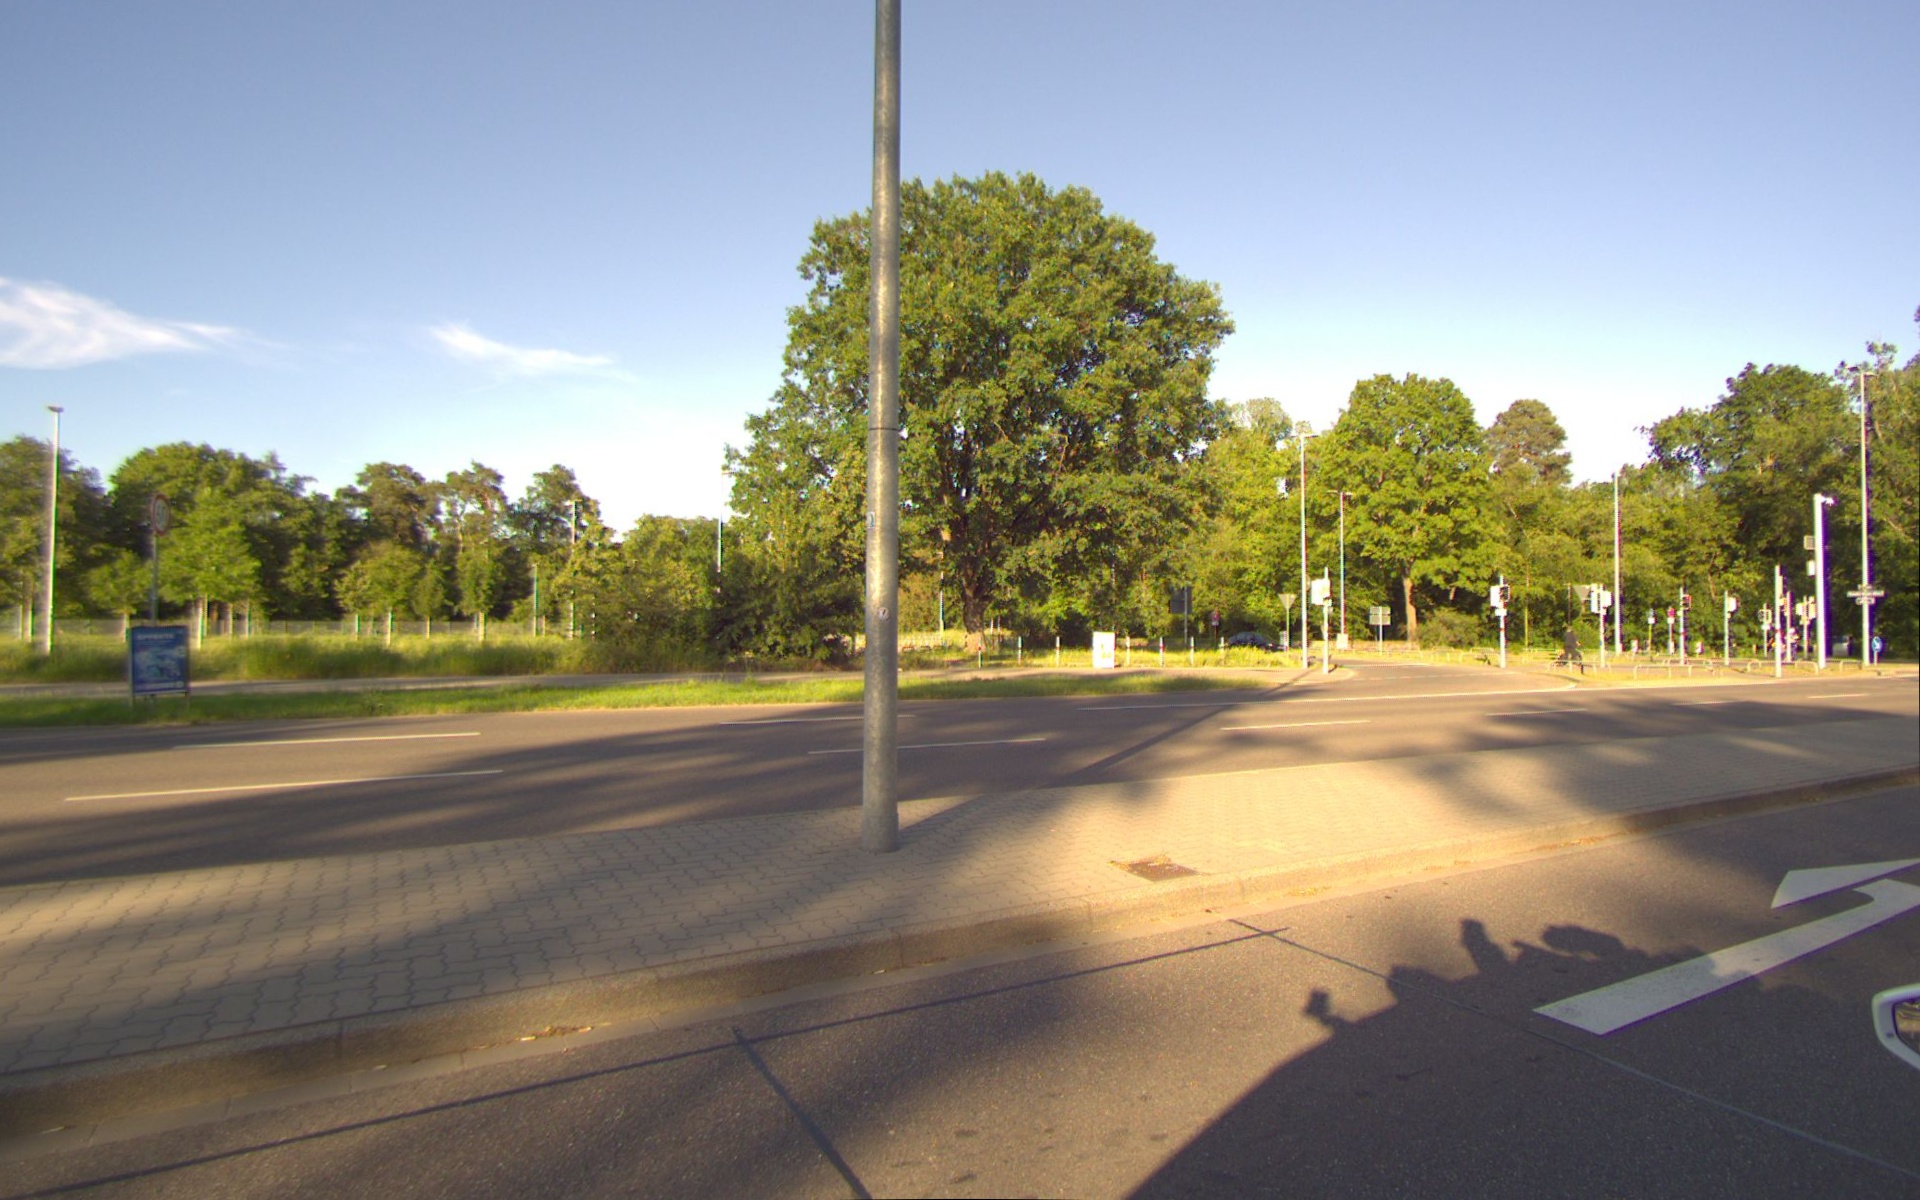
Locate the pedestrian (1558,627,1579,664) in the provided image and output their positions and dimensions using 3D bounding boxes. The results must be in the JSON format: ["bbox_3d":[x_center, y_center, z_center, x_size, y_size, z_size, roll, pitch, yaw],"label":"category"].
[{"bbox_3d":[25.814,1.924,42.596,0.636,1.580,0.539,0,-2,18],"label":"pedestrian"}]

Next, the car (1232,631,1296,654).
[{"bbox_3d":[19.594,2.743,64.891,1.728,1.405,4.092,1,-2,-24],"label":"car"}]
